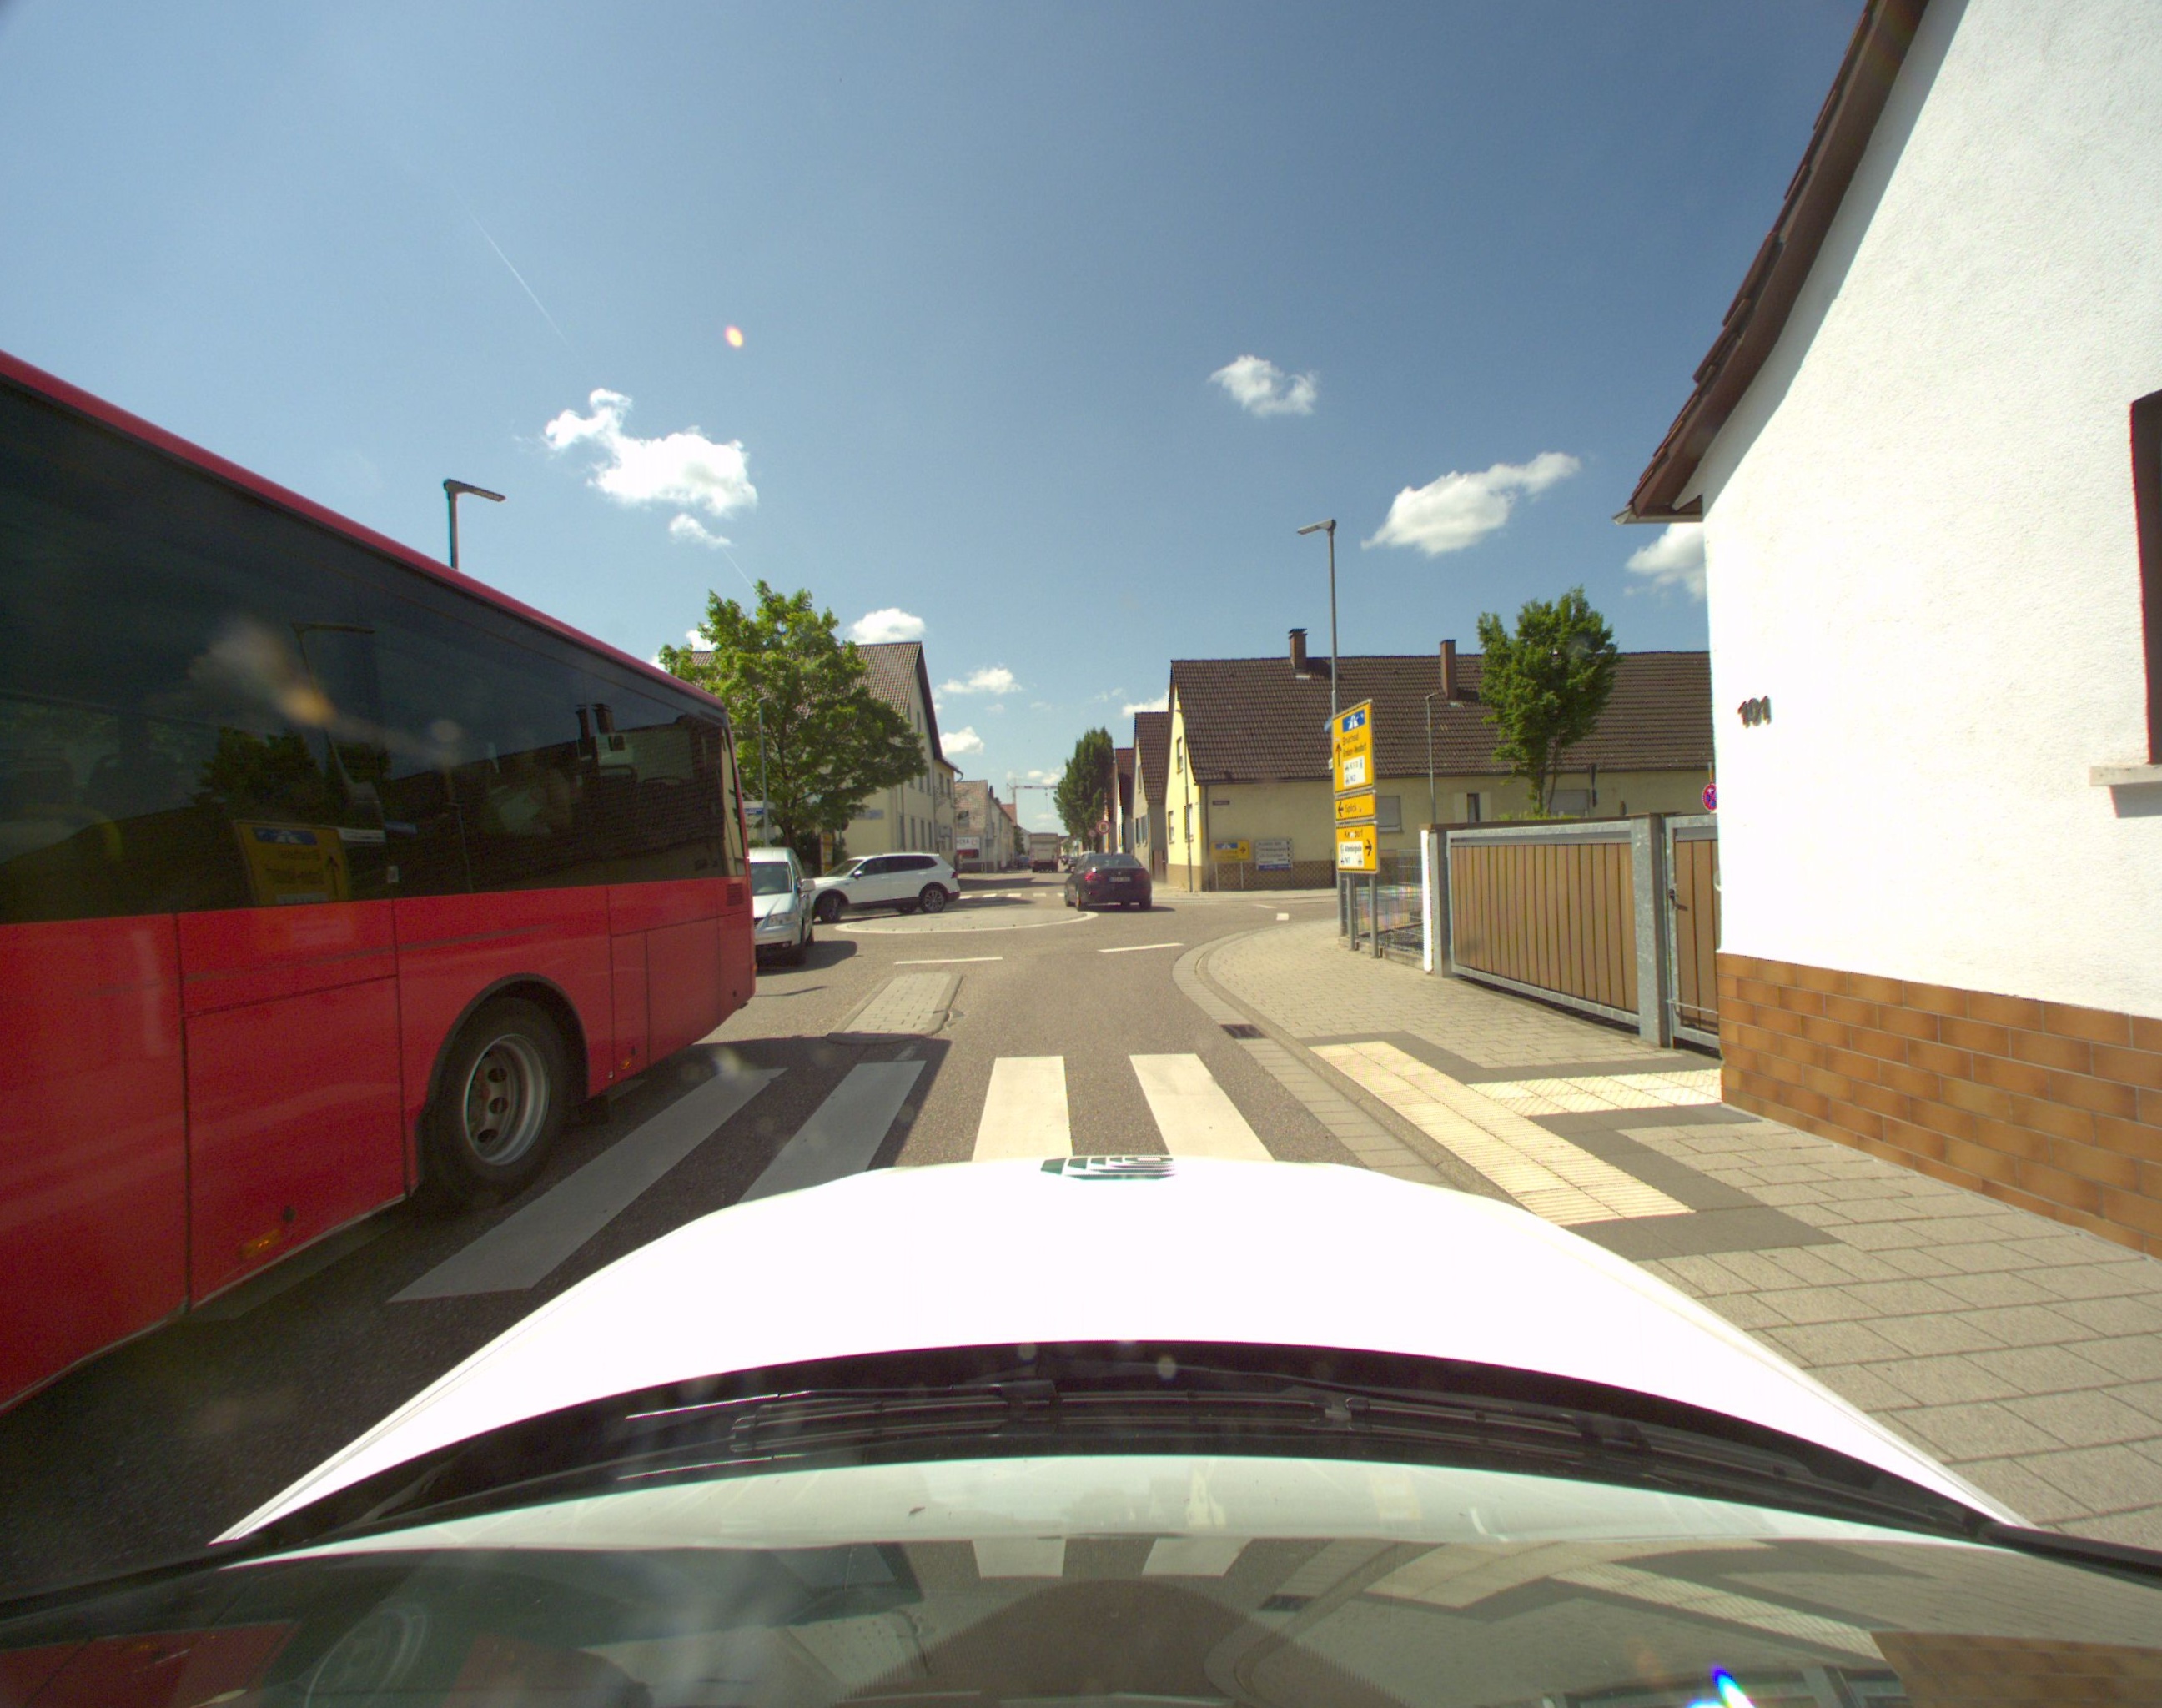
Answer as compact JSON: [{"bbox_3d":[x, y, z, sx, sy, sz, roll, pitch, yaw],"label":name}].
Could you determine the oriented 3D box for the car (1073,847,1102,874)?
[{"bbox_3d":[0.422,0.483,59.779,1.716,1.790,4.138,-4,0,-4],"label":"car"}]

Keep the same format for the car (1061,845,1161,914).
[{"bbox_3d":[0.667,0.674,21.545,1.901,1.564,4.464,-2,-2,-7],"label":"car"}]

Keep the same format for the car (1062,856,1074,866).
[{"bbox_3d":[-1.946,1.061,124.877,1.715,1.355,4.153,-2,0,-2],"label":"car"}]

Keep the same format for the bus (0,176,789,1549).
[{"bbox_3d":[-3.822,0.041,1.338,2.620,3.232,12.011,-4,0,-3],"label":"bus"}]

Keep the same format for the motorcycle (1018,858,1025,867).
[{"bbox_3d":[-7.832,1.146,106.567,0.844,1.170,2.466,0,-1,-3],"label":"motorcycle"}]

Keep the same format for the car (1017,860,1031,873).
[{"bbox_3d":[-7.739,1.694,110.390,1.805,1.589,3.996,-2,0,-3],"label":"car"}]

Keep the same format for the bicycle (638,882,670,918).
[{"bbox_3d":[-13.749,1.455,26.272,0.400,1.003,1.973,-2,2,-14],"label":"bicycle"}]

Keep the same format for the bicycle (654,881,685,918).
[{"bbox_3d":[-13.307,1.452,26.378,0.400,1.003,1.973,-2,2,-14],"label":"bicycle"}]

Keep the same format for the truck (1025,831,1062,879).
[{"bbox_3d":[-3.406,0.126,77.143,3.135,4.250,9.298,-1,-1,-1],"label":"truck"}]

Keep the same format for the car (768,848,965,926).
[{"bbox_3d":[-5.512,0.782,21.224,4.565,1.710,1.850,-2,0,-39],"label":"car"}]

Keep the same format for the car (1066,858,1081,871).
[{"bbox_3d":[-0.876,1.246,96.452,1.714,1.461,4.155,-2,0,0],"label":"car"}]

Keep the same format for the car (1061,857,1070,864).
[{"bbox_3d":[-3.334,1.377,173.779,1.715,1.268,4.153,-2,0,-2],"label":"car"}]

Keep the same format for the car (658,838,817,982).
[{"bbox_3d":[-5.330,0.770,13.185,1.776,1.821,4.416,-4,0,-17],"label":"car"}]
